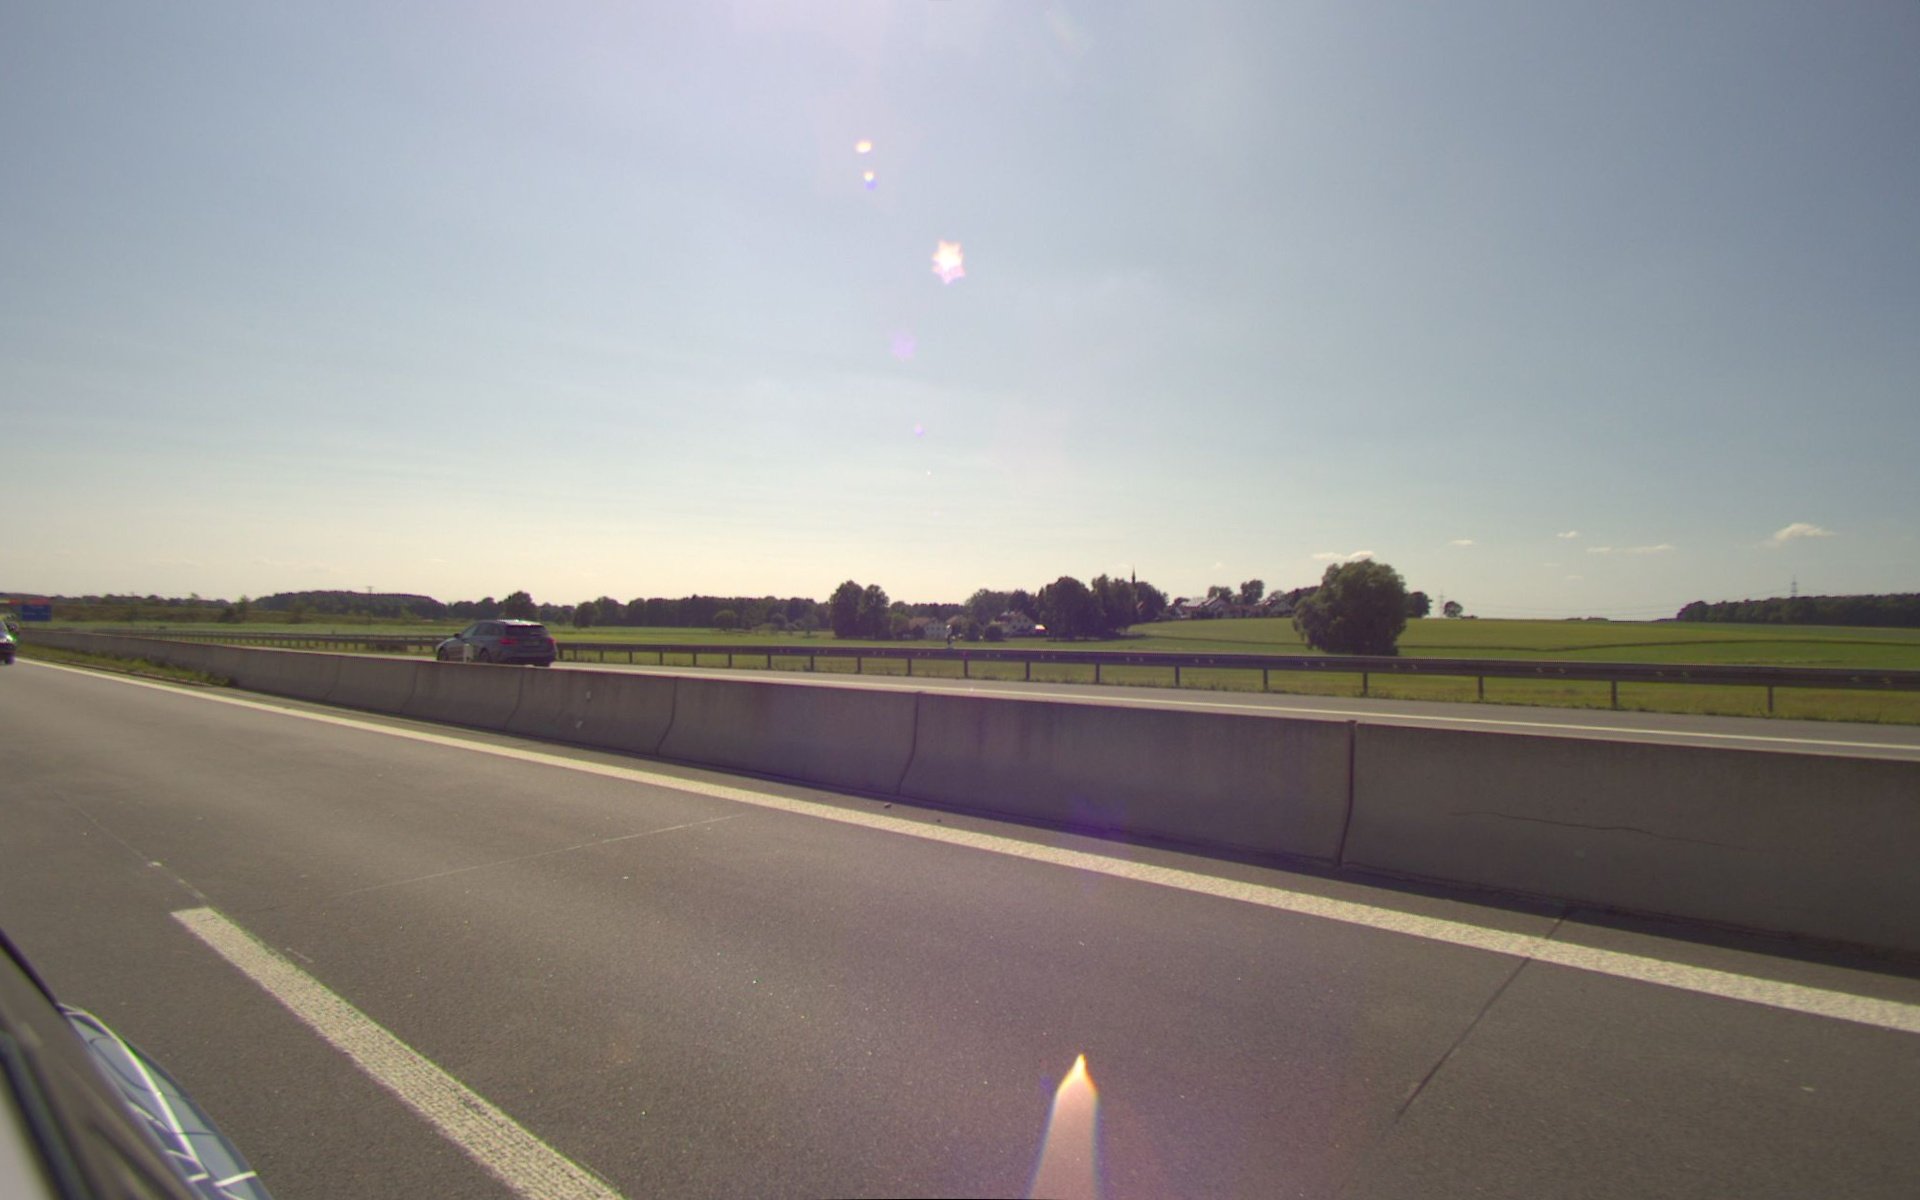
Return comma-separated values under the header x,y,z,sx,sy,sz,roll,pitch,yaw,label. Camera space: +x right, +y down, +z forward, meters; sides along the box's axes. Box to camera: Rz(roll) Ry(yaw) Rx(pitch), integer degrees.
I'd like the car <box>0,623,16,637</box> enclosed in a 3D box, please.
x,y,z,sx,sy,sz,roll,pitch,yaw,label
-107.836,3.365,113.802,4.804,1.535,1.878,-1,-5,42,car

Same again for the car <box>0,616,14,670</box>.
x,y,z,sx,sy,sz,roll,pitch,yaw,label
-31.617,1.322,32.038,4.817,1.622,2.004,-1,-2,42,car

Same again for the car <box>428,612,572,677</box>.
x,y,z,sx,sy,sz,roll,pitch,yaw,label
-13.397,1.261,29.323,5.004,1.698,1.887,-2,0,42,car
